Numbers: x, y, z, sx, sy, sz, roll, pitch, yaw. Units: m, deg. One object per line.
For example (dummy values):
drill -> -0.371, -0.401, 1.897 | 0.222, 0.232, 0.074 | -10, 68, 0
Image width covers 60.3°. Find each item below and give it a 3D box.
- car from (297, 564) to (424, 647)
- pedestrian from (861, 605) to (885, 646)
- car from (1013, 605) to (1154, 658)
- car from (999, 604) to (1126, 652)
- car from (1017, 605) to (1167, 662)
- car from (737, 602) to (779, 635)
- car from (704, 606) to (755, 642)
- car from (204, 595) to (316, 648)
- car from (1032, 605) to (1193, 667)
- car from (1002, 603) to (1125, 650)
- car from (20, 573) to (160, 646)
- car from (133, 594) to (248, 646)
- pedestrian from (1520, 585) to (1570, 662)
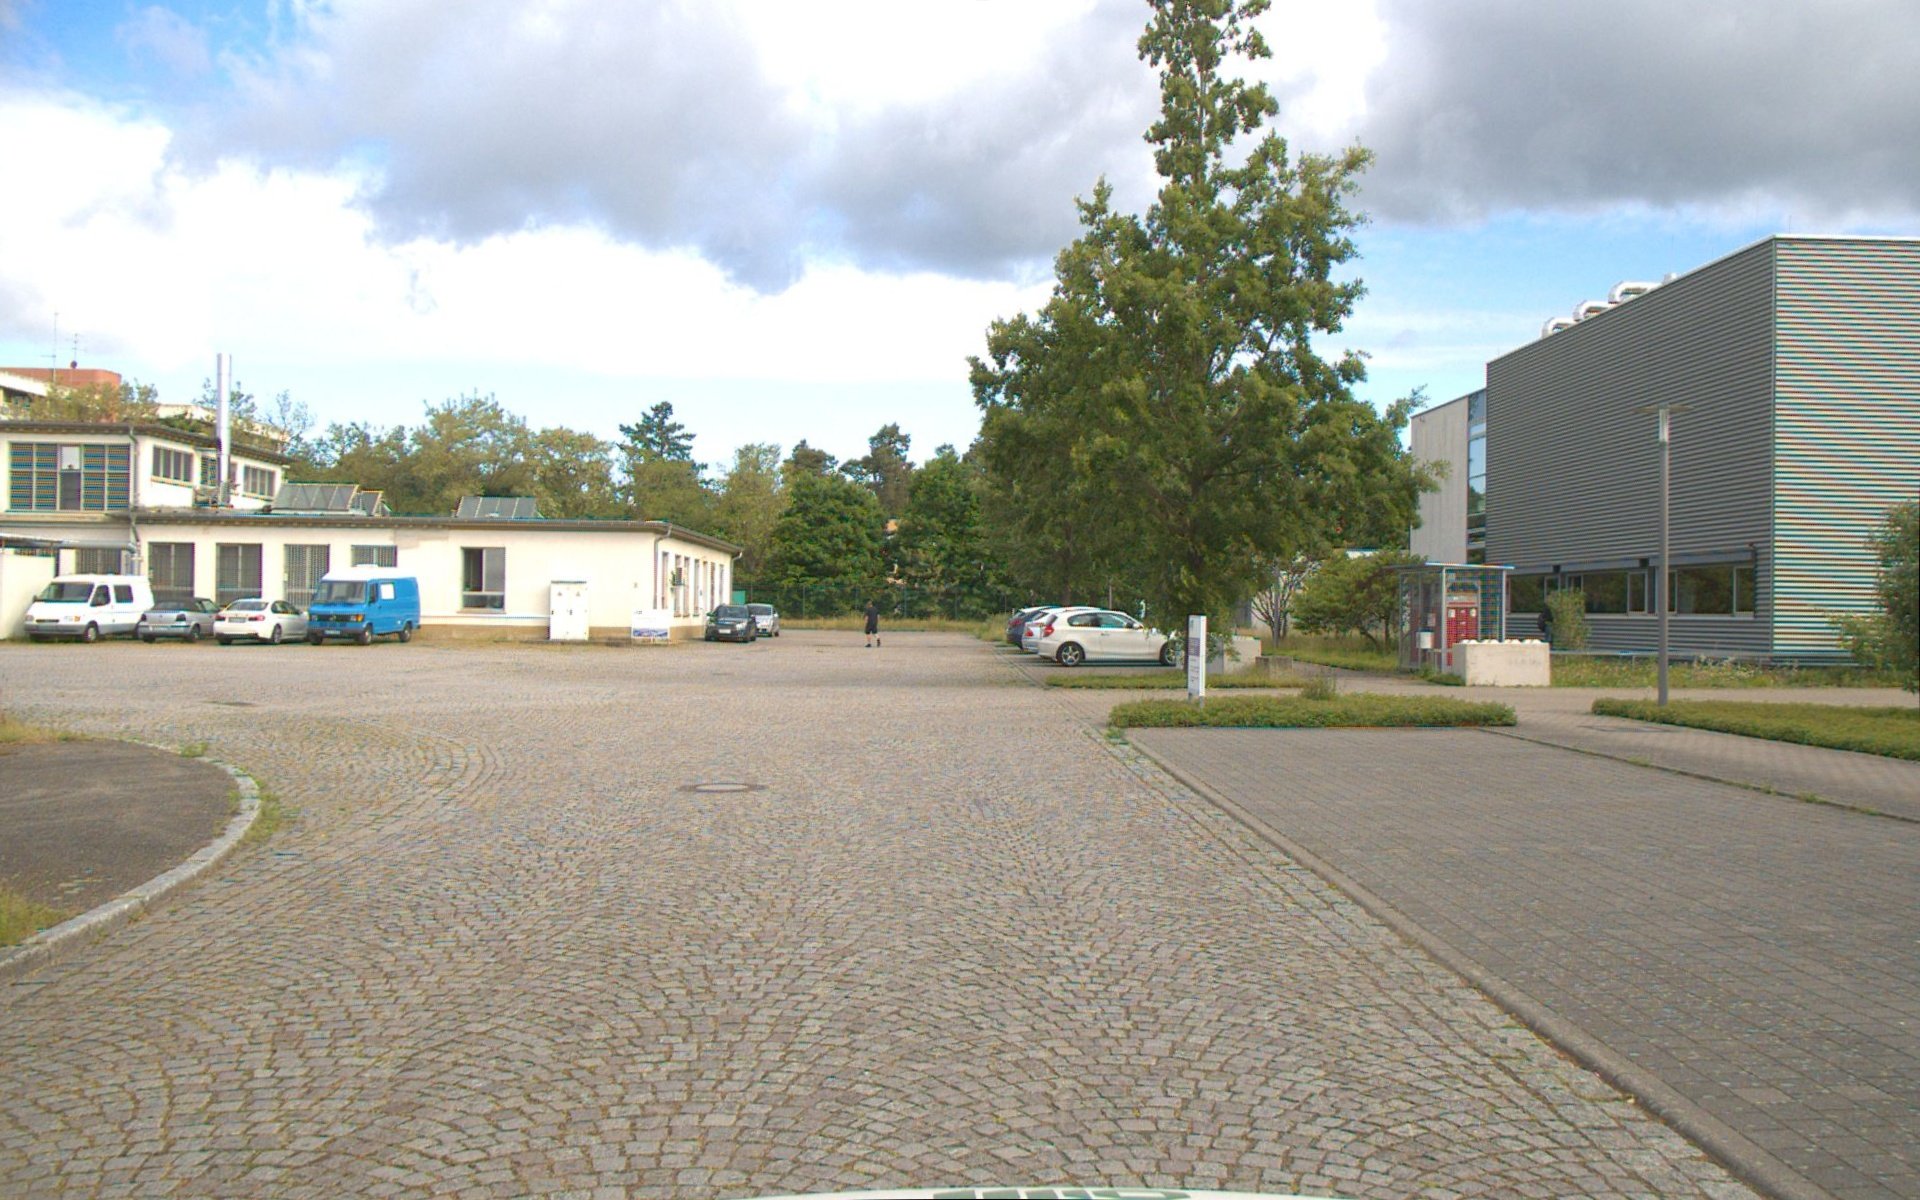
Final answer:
car -> -19.570, 0.183, 54.290 | 1.952, 2.567, 5.619 | 0, -1, 2
pedestrian -> -3.408, 0.984, 64.577 | 0.921, 1.596, 0.970 | 0, -1, -3
car -> 3.524, 0.887, 47.747 | 3.906, 1.481, 1.769 | 0, -1, -1
car -> 3.233, 0.882, 52.643 | 3.906, 1.481, 1.769 | 0, -1, -1
car -> 3.539, 0.900, 44.706 | 3.906, 1.481, 1.697 | 0, -1, -1
car -> -9.305, 0.864, 76.391 | 1.714, 1.480, 3.997 | 0, 0, -4
car -> -9.180, 0.948, 66.161 | 1.714, 1.388, 3.997 | 0, 0, -4
car -> -22.348, 0.677, 52.931 | 1.862, 1.602, 4.000 | 0, 0, 0
car -> 3.880, 0.923, 42.547 | 3.906, 1.481, 1.999 | 1, -1, -1
car -> 3.476, 0.880, 55.866 | 3.909, 1.560, 1.998 | 0, -1, -5
car -> -27.925, 0.317, 53.278 | 1.861, 2.245, 4.783 | 0, 0, 1
car -> -24.982, 0.647, 53.838 | 1.862, 1.602, 4.000 | 0, 0, 0
pedestrian -> 15.336, 0.612, 43.356 | 0.908, 1.970, 0.846 | 1, -1, -32
